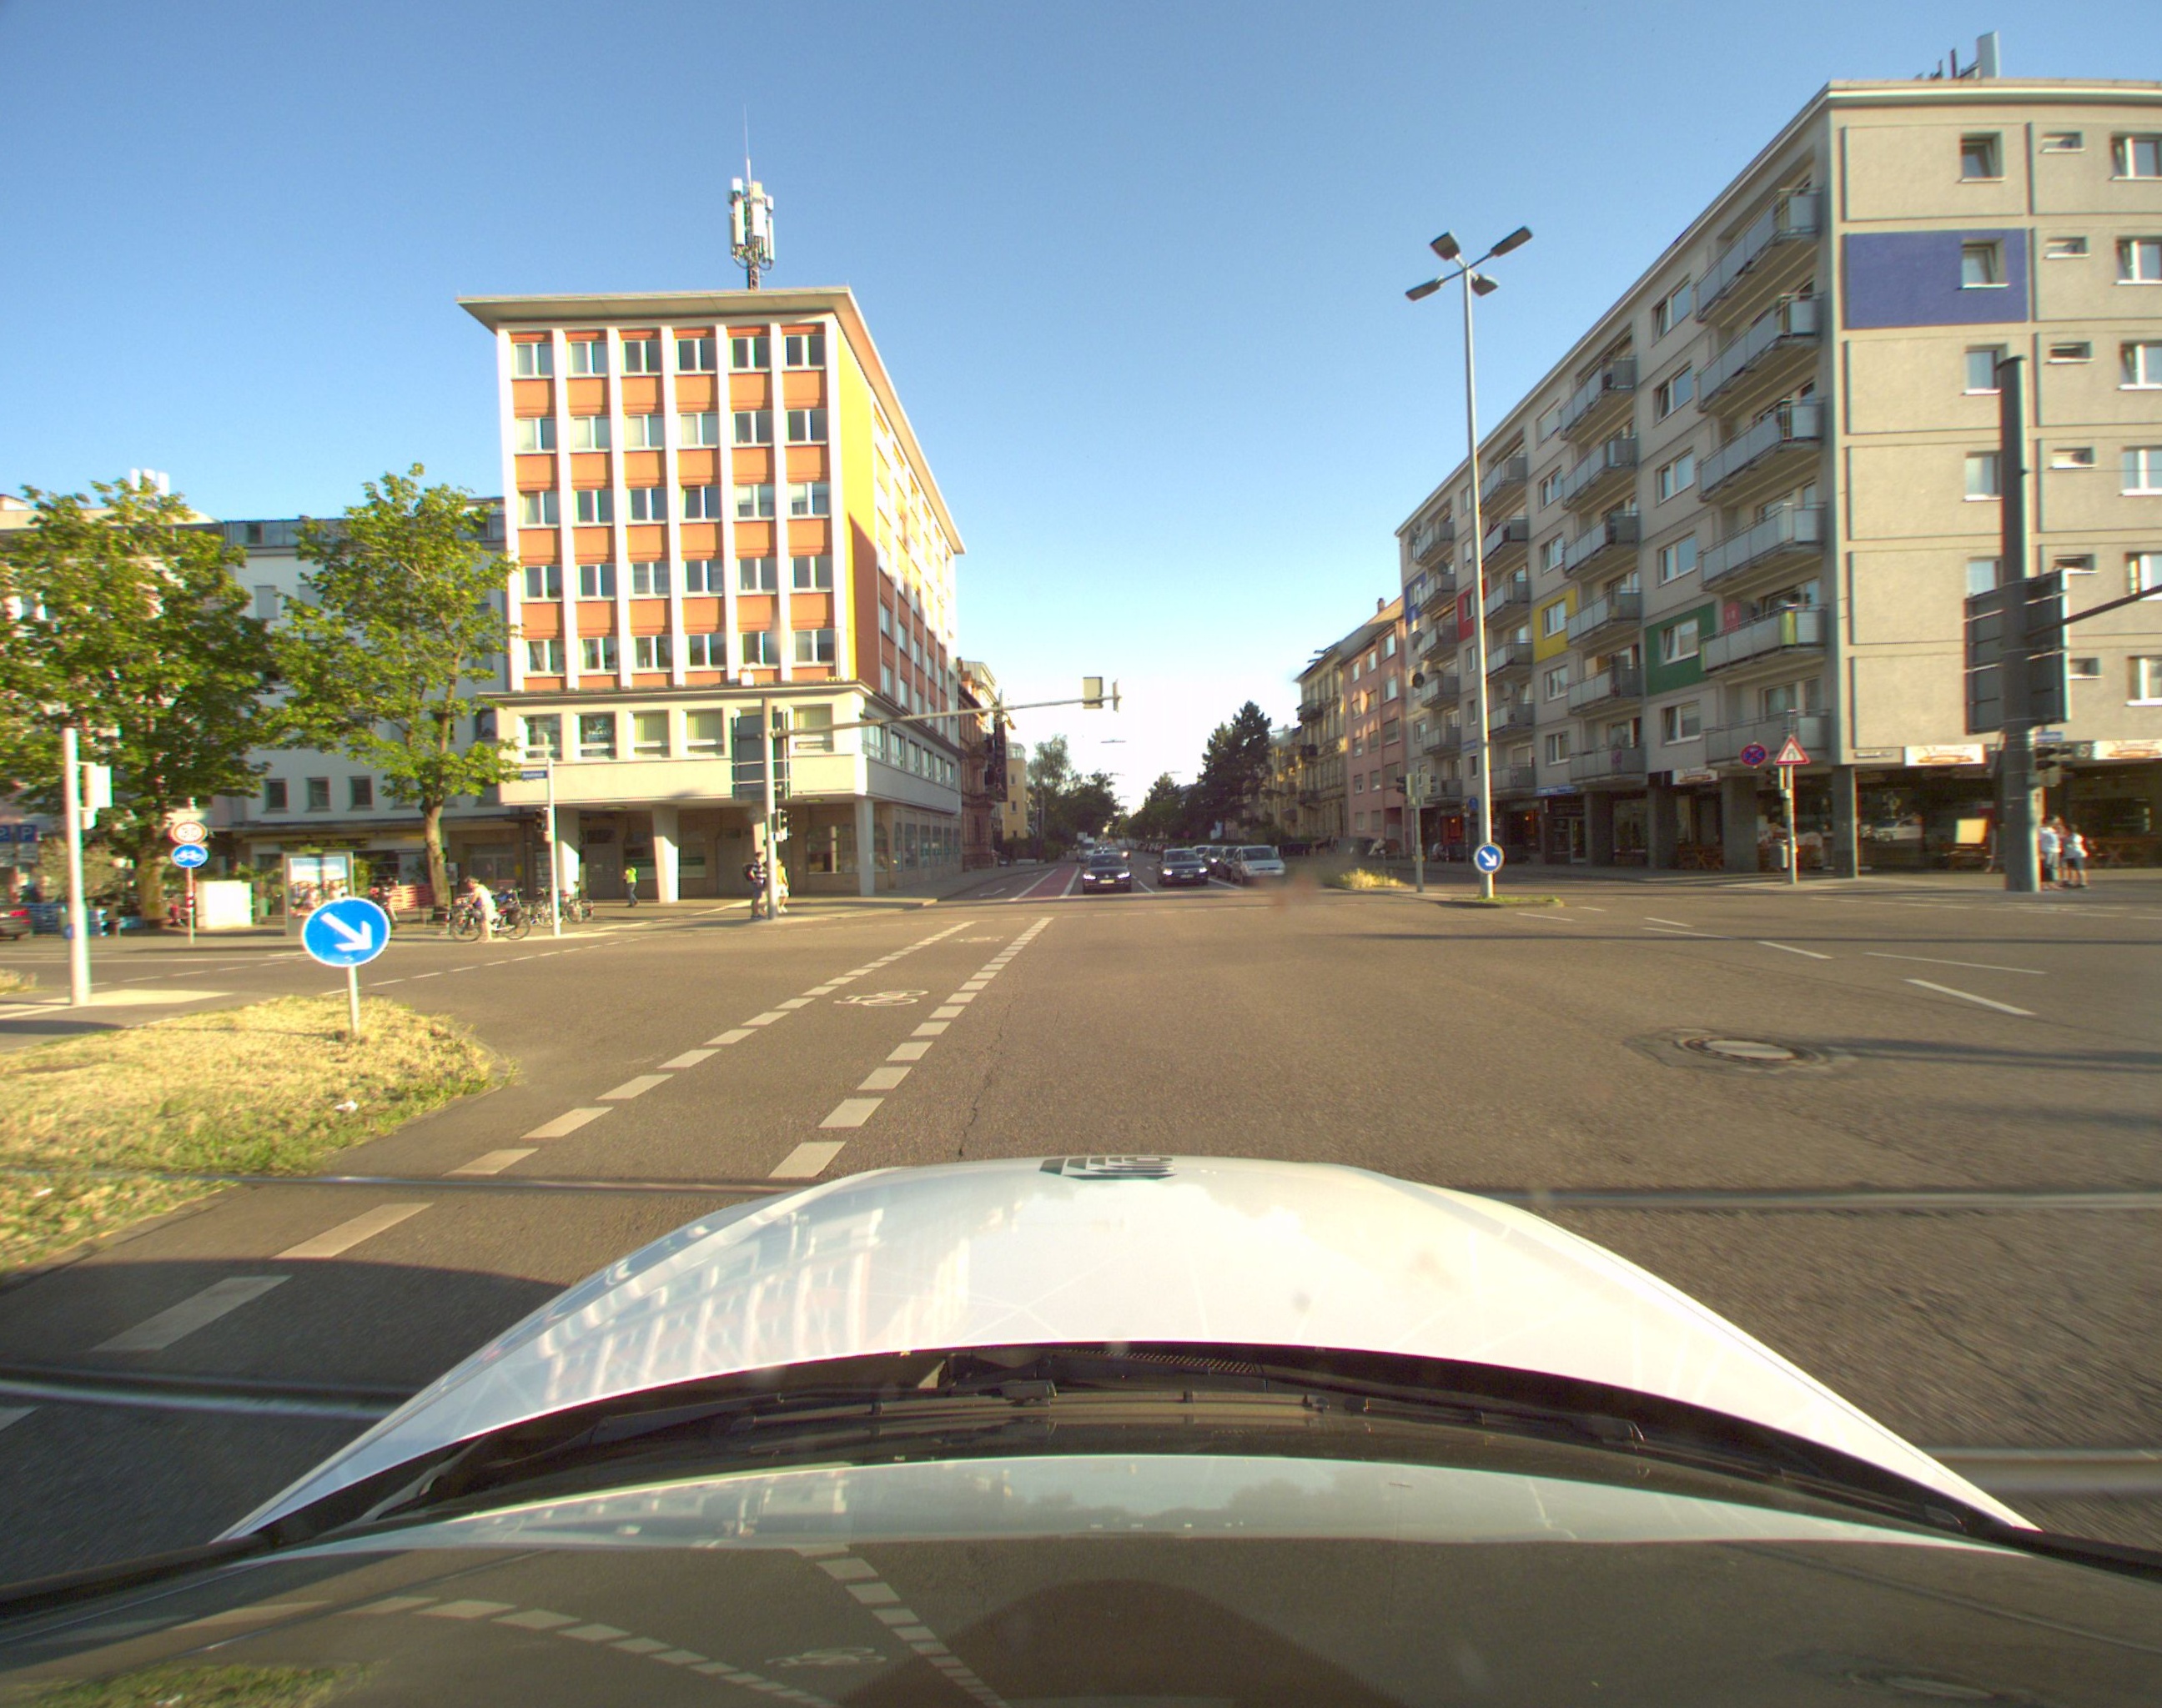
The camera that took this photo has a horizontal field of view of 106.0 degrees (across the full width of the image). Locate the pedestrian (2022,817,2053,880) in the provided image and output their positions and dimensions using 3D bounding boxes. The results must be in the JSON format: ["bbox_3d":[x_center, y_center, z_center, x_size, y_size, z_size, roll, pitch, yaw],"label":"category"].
[{"bbox_3d":[22.237,-0.131,18.941,0.395,1.448,0.375,-2,1,-27],"label":"pedestrian"}]

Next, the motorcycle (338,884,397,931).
[{"bbox_3d":[-21.244,1.583,24.245,1.380,1.317,0.381,-2,1,1],"label":"motorcycle"}]

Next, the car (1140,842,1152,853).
[{"bbox_3d":[11.997,-1.164,150.085,1.986,1.833,4.222,-2,1,1],"label":"car"}]

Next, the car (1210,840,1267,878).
[{"bbox_3d":[6.898,0.180,36.005,1.985,1.486,4.005,-2,1,4],"label":"car"}]

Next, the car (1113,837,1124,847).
[{"bbox_3d":[9.523,-3.135,207.700,2.607,2.376,5.258,-2,1,2],"label":"car"}]

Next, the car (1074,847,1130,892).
[{"bbox_3d":[0.868,0.536,30.674,1.872,1.486,4.005,-2,1,4],"label":"car"}]

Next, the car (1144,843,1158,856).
[{"bbox_3d":[11.137,-0.784,130.048,1.986,1.997,4.222,-2,1,1],"label":"car"}]

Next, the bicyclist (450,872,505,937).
[{"bbox_3d":[-14.097,1.163,19.034,0.857,1.426,0.498,-2,1,-20],"label":"bicyclist"}]

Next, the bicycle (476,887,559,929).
[{"bbox_3d":[-16.081,1.540,23.265,1.983,1.075,0.469,-2,1,-1],"label":"bicycle"}]

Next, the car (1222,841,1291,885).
[{"bbox_3d":[6.623,0.287,31.191,1.985,1.486,4.005,-2,1,4],"label":"car"}]

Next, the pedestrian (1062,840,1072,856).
[{"bbox_3d":[-1.759,-0.724,101.005,1.024,2.013,0.941,-2,1,-13],"label":"pedestrian"}]

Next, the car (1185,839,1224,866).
[{"bbox_3d":[7.362,-0.126,48.888,1.985,1.486,4.005,-2,1,4],"label":"car"}]

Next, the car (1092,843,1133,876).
[{"bbox_3d":[1.650,0.251,42.833,1.986,1.531,4.002,-2,1,2],"label":"car"}]

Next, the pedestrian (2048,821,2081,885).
[{"bbox_3d":[21.809,-0.030,18.058,0.396,1.383,0.379,-2,1,-28],"label":"pedestrian"}]

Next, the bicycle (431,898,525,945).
[{"bbox_3d":[-14.068,1.570,19.041,1.668,0.944,0.506,-2,1,-21],"label":"bicycle"}]

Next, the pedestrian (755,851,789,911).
[{"bbox_3d":[-9.729,0.842,25.665,0.709,1.818,0.752,-2,1,0],"label":"pedestrian"}]

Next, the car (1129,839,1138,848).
[{"bbox_3d":[12.095,-2.441,187.999,1.986,2.050,4.222,-2,1,1],"label":"car"}]

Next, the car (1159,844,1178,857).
[{"bbox_3d":[10.821,-0.498,100.870,1.986,1.517,4.222,-2,1,1],"label":"car"}]

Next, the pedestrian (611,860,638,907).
[{"bbox_3d":[-17.713,1.132,31.606,0.636,1.791,0.585,-2,1,-1],"label":"pedestrian"}]

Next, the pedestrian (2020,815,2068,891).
[{"bbox_3d":[21.174,-0.023,17.911,0.605,1.620,0.567,-2,1,-31],"label":"pedestrian"}]

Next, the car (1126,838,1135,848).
[{"bbox_3d":[12.357,-2.828,203.565,1.986,2.376,4.002,-2,1,2],"label":"car"}]

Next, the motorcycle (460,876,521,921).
[{"bbox_3d":[-19.166,1.428,26.472,0.541,1.317,1.837,-2,1,2],"label":"motorcycle"}]

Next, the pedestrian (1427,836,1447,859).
[{"bbox_3d":[19.891,-0.389,45.547,0.709,1.256,0.792,-2,1,-3],"label":"pedestrian"}]

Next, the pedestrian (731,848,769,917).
[{"bbox_3d":[-9.561,0.806,23.518,0.709,1.946,0.728,-1,1,45],"label":"pedestrian"}]

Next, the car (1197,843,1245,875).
[{"bbox_3d":[7.070,0.215,41.443,1.985,1.486,4.005,-2,1,4],"label":"car"}]

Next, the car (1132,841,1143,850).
[{"bbox_3d":[11.268,-1.700,161.577,1.986,1.517,4.222,-2,1,1],"label":"car"}]

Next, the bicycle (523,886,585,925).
[{"bbox_3d":[-15.942,1.560,24.655,1.551,1.075,0.395,-2,1,-1],"label":"bicycle"}]

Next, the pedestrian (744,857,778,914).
[{"bbox_3d":[-9.800,0.946,24.946,0.725,1.684,0.585,-2,1,-2],"label":"pedestrian"}]

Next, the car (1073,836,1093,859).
[{"bbox_3d":[0.229,-0.691,84.401,1.986,2.324,4.222,-2,1,1],"label":"car"}]

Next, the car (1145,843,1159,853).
[{"bbox_3d":[10.914,-0.954,125.452,1.986,1.517,4.222,-2,1,1],"label":"car"}]

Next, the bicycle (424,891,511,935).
[{"bbox_3d":[-16.364,1.568,21.733,1.895,1.075,0.469,-2,1,-1],"label":"bicycle"}]

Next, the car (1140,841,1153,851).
[{"bbox_3d":[11.057,-1.339,138.089,1.986,1.517,4.222,-2,1,1],"label":"car"}]

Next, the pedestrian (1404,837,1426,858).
[{"bbox_3d":[19.827,-0.382,48.356,0.858,1.170,0.790,-2,1,-8],"label":"pedestrian"}]

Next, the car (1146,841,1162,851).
[{"bbox_3d":[10.790,-1.198,120.459,1.986,1.517,4.222,-2,1,1],"label":"car"}]

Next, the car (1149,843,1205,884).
[{"bbox_3d":[3.812,0.343,32.953,1.985,1.486,4.005,-2,1,4],"label":"car"}]

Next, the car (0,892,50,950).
[{"bbox_3d":[-34.643,2.117,25.346,3.953,1.683,2.011,-2,1,21],"label":"car"}]
